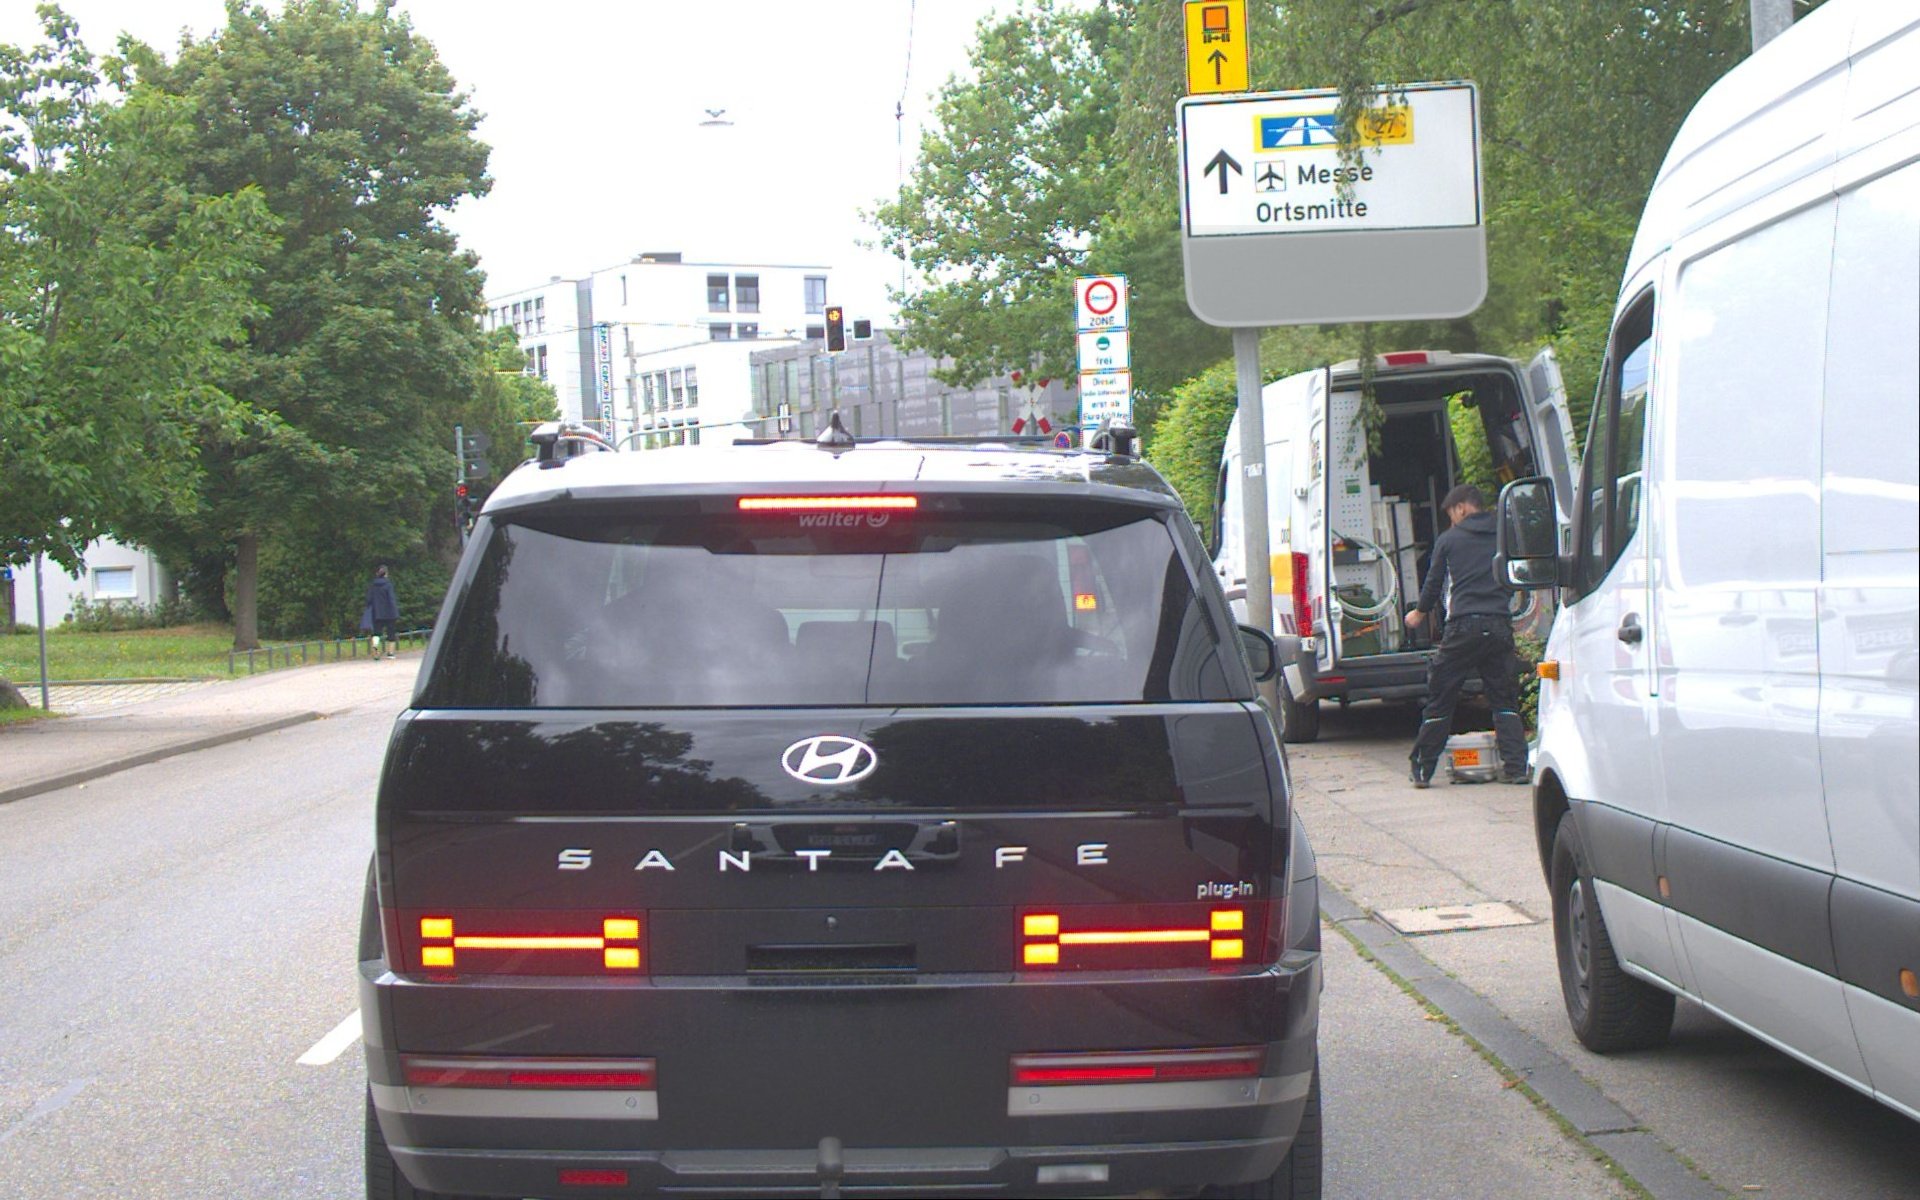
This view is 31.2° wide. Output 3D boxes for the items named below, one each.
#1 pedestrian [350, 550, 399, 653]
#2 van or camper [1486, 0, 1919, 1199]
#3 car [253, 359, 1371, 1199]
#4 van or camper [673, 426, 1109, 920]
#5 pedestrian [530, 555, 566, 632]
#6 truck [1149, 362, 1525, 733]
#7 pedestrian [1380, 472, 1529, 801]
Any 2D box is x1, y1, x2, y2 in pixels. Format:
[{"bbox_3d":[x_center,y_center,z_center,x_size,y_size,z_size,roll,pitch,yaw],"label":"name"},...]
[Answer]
[{"bbox_3d":[-9.927,0.027,58.301,0.738,1.709,0.793,-2,1,-7],"label":"pedestrian"},{"bbox_3d":[2.643,-0.047,7.002,1.993,2.611,6.541,-2,1,-1],"label":"van or camper"},{"bbox_3d":[-0.271,0.471,7.837,1.889,1.813,4.000,0,1,-1],"label":"car"},{"bbox_3d":[-0.309,0.273,16.357,1.754,2.007,4.000,-2,1,-1],"label":"van or camper"},{"bbox_3d":[-9.355,-0.158,78.091,0.738,1.709,0.793,-2,1,-7],"label":"pedestrian"},{"bbox_3d":[2.860,-0.397,27.334,1.942,2.553,5.217,-4,1,-4],"label":"truck"},{"bbox_3d":[2.787,0.193,19.350,0.757,1.791,0.872,-2,1,9],"label":"pedestrian"}]
